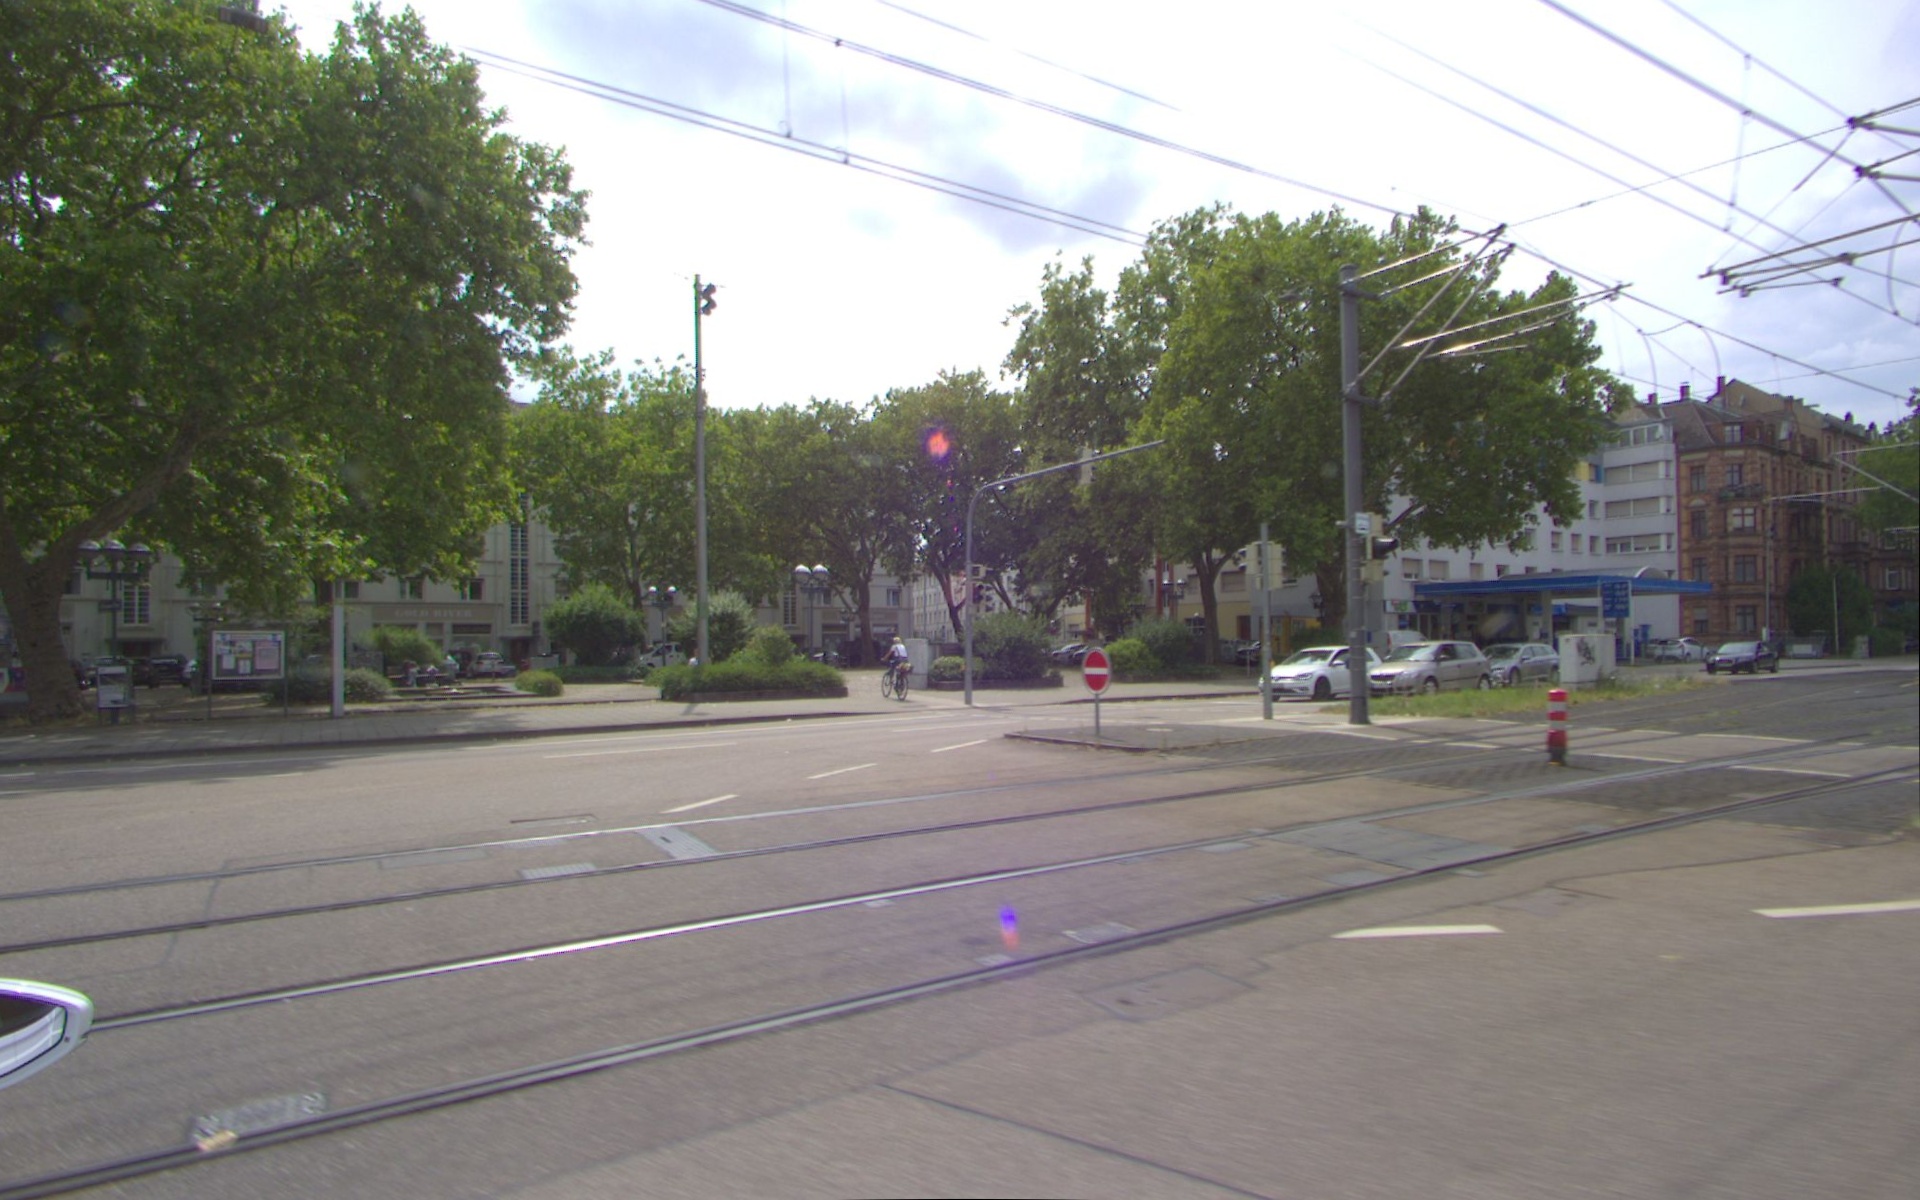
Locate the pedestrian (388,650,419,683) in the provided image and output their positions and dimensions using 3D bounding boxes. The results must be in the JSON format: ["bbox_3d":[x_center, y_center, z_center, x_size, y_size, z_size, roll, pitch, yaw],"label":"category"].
[{"bbox_3d":[-20.721,2.466,37.279,0.878,1.215,1.116,1,-2,-37],"label":"pedestrian"}]

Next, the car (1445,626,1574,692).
[{"bbox_3d":[18.356,1.934,33.452,3.943,2.039,1.991,0,-2,-30],"label":"car"}]

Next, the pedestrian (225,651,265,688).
[{"bbox_3d":[-24.748,2.404,34.681,1.085,1.228,1.134,0,-2,-34],"label":"pedestrian"}]

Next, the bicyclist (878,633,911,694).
[{"bbox_3d":[-1.848,1.771,28.048,0.555,1.674,0.861,1,-2,-36],"label":"bicyclist"}]

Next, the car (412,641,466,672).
[{"bbox_3d":[-29.451,3.169,56.566,1.977,1.638,4.174,1,-3,-38],"label":"car"}]

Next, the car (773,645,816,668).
[{"bbox_3d":[-11.481,3.851,69.131,1.968,1.502,4.088,0,-2,-24],"label":"car"}]

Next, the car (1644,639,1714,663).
[{"bbox_3d":[41.257,2.899,57.463,3.947,1.282,1.988,1,-2,-33],"label":"car"}]

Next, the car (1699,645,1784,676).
[{"bbox_3d":[34.579,2.665,44.282,3.952,1.282,1.986,2,-2,-37],"label":"car"}]

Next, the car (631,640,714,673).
[{"bbox_3d":[-16.753,3.252,58.450,4.277,1.839,1.988,1,-2,-35],"label":"car"}]

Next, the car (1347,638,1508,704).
[{"bbox_3d":[11.874,1.734,25.362,4.234,1.530,1.827,2,-2,-35],"label":"car"}]

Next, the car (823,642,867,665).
[{"bbox_3d":[-8.119,3.732,70.430,1.968,1.502,4.088,0,-2,-24],"label":"car"}]

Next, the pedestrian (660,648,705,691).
[{"bbox_3d":[-8.900,2.200,32.088,1.164,1.334,0.861,1,-2,-36],"label":"pedestrian"}]

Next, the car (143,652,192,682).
[{"bbox_3d":[-45.275,3.793,57.275,1.975,1.611,4.167,1,-3,-35],"label":"car"}]

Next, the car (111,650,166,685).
[{"bbox_3d":[-40.242,3.284,49.141,1.977,1.619,3.971,1,-3,-38],"label":"car"}]

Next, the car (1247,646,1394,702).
[{"bbox_3d":[9.953,1.977,27.535,4.238,1.401,1.826,2,-2,-38],"label":"car"}]

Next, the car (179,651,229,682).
[{"bbox_3d":[-38.322,3.355,50.734,1.977,1.482,3.971,1,-3,-38],"label":"car"}]

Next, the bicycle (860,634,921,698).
[{"bbox_3d":[-1.986,1.828,28.271,0.713,1.727,2.170,1,-2,-35],"label":"bicycle"}]

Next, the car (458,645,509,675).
[{"bbox_3d":[-27.615,3.419,57.981,1.976,1.660,3.972,1,-2,-37],"label":"car"}]

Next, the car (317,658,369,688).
[{"bbox_3d":[-33.436,3.923,54.230,1.977,1.482,3.971,1,-3,-38],"label":"car"}]

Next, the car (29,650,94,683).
[{"bbox_3d":[-42.265,3.101,47.171,1.977,1.482,3.971,1,-3,-38],"label":"car"}]

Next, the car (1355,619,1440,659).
[{"bbox_3d":[21.459,1.909,49.075,4.330,1.901,1.985,2,-2,-38],"label":"car"}]

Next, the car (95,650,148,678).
[{"bbox_3d":[-47.289,3.577,56.547,1.975,1.506,4.167,1,-3,-35],"label":"car"}]

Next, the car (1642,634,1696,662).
[{"bbox_3d":[52.319,3.541,73.879,3.947,2.039,1.988,1,-2,-33],"label":"car"}]

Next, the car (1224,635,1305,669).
[{"bbox_3d":[16.775,2.846,55.158,3.934,1.839,1.995,1,-2,-22],"label":"car"}]
